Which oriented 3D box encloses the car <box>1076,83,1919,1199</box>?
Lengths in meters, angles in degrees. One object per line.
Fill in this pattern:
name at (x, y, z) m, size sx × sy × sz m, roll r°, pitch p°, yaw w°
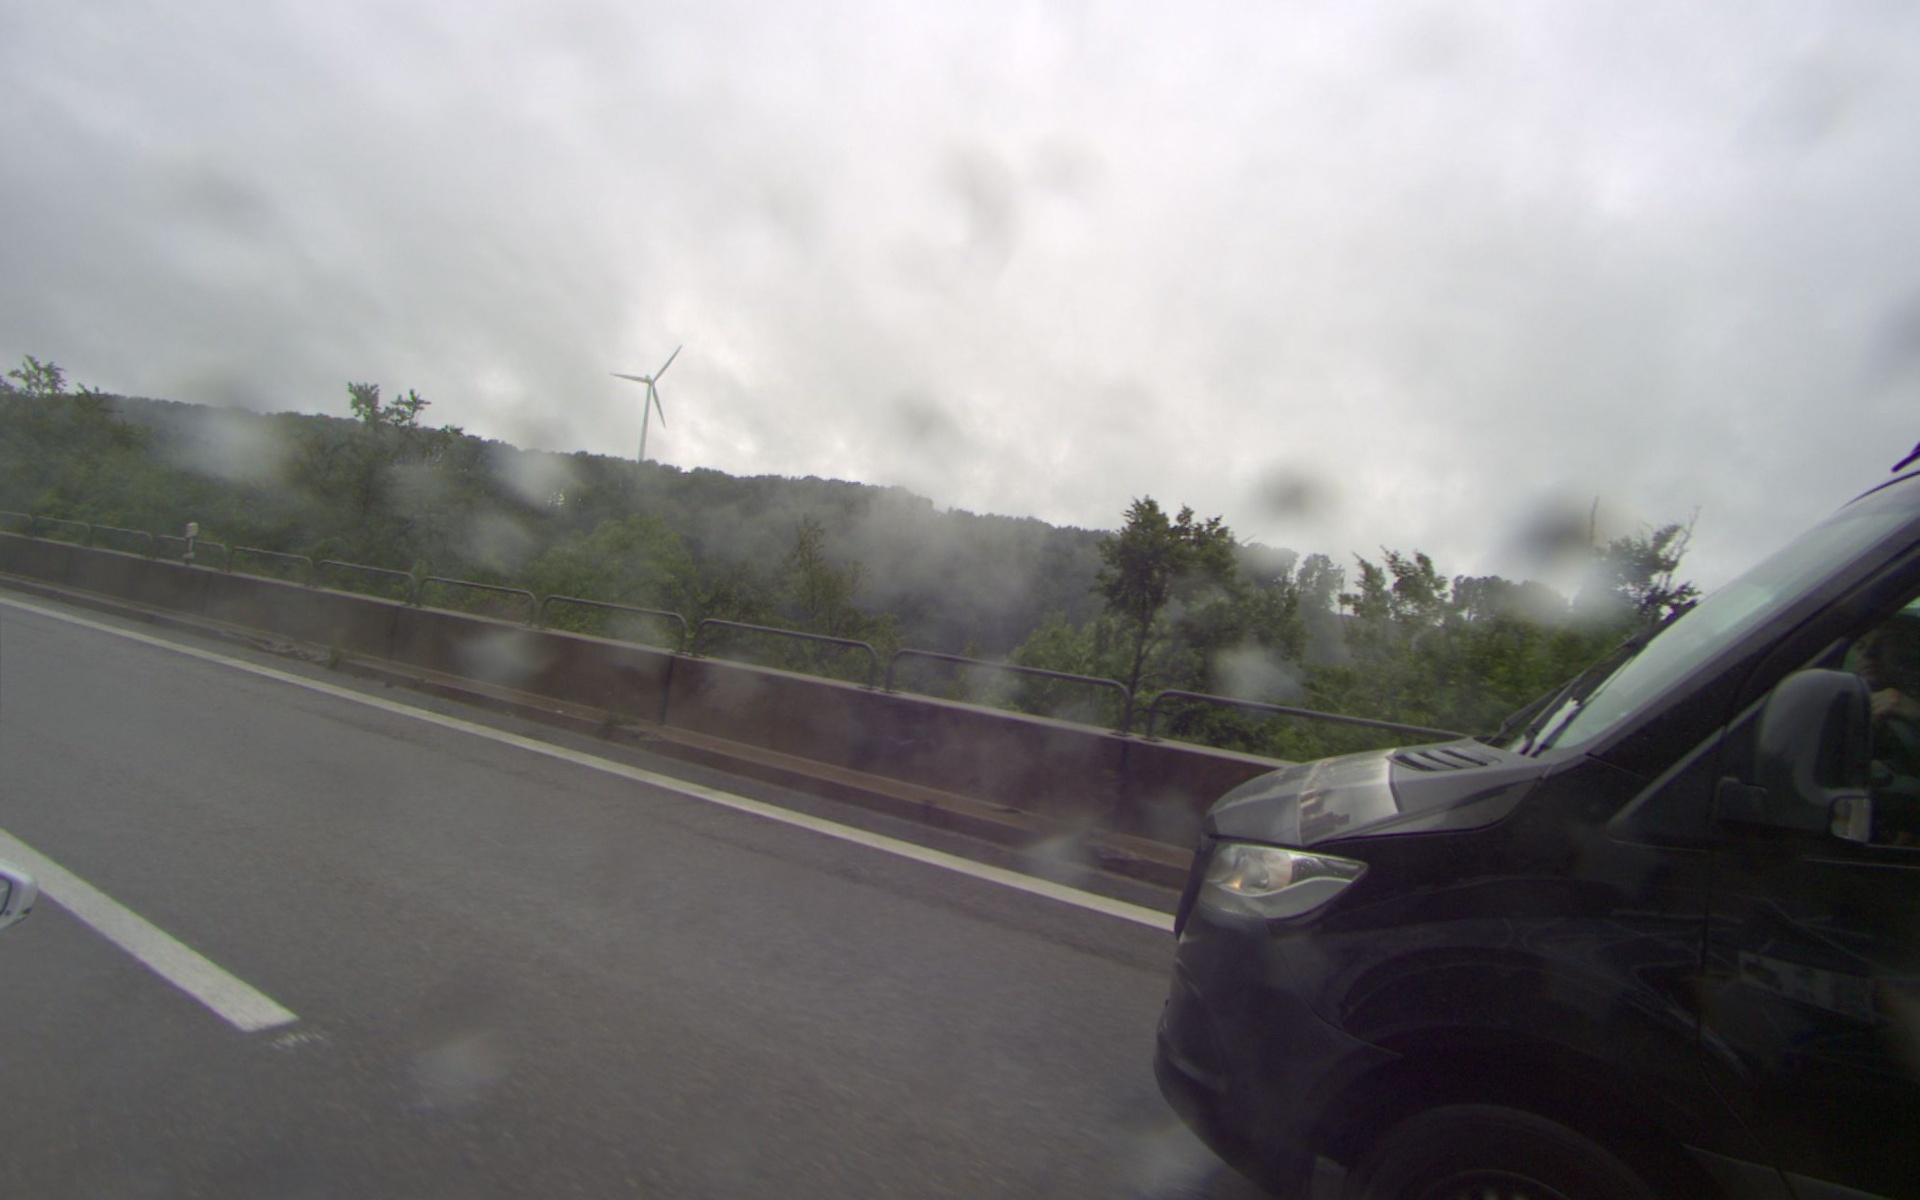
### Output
car at (3.698, 0.657, 1.468) m, size 6.594 × 2.523 × 1.997 m, roll 6°, pitch -1°, yaw 32°
